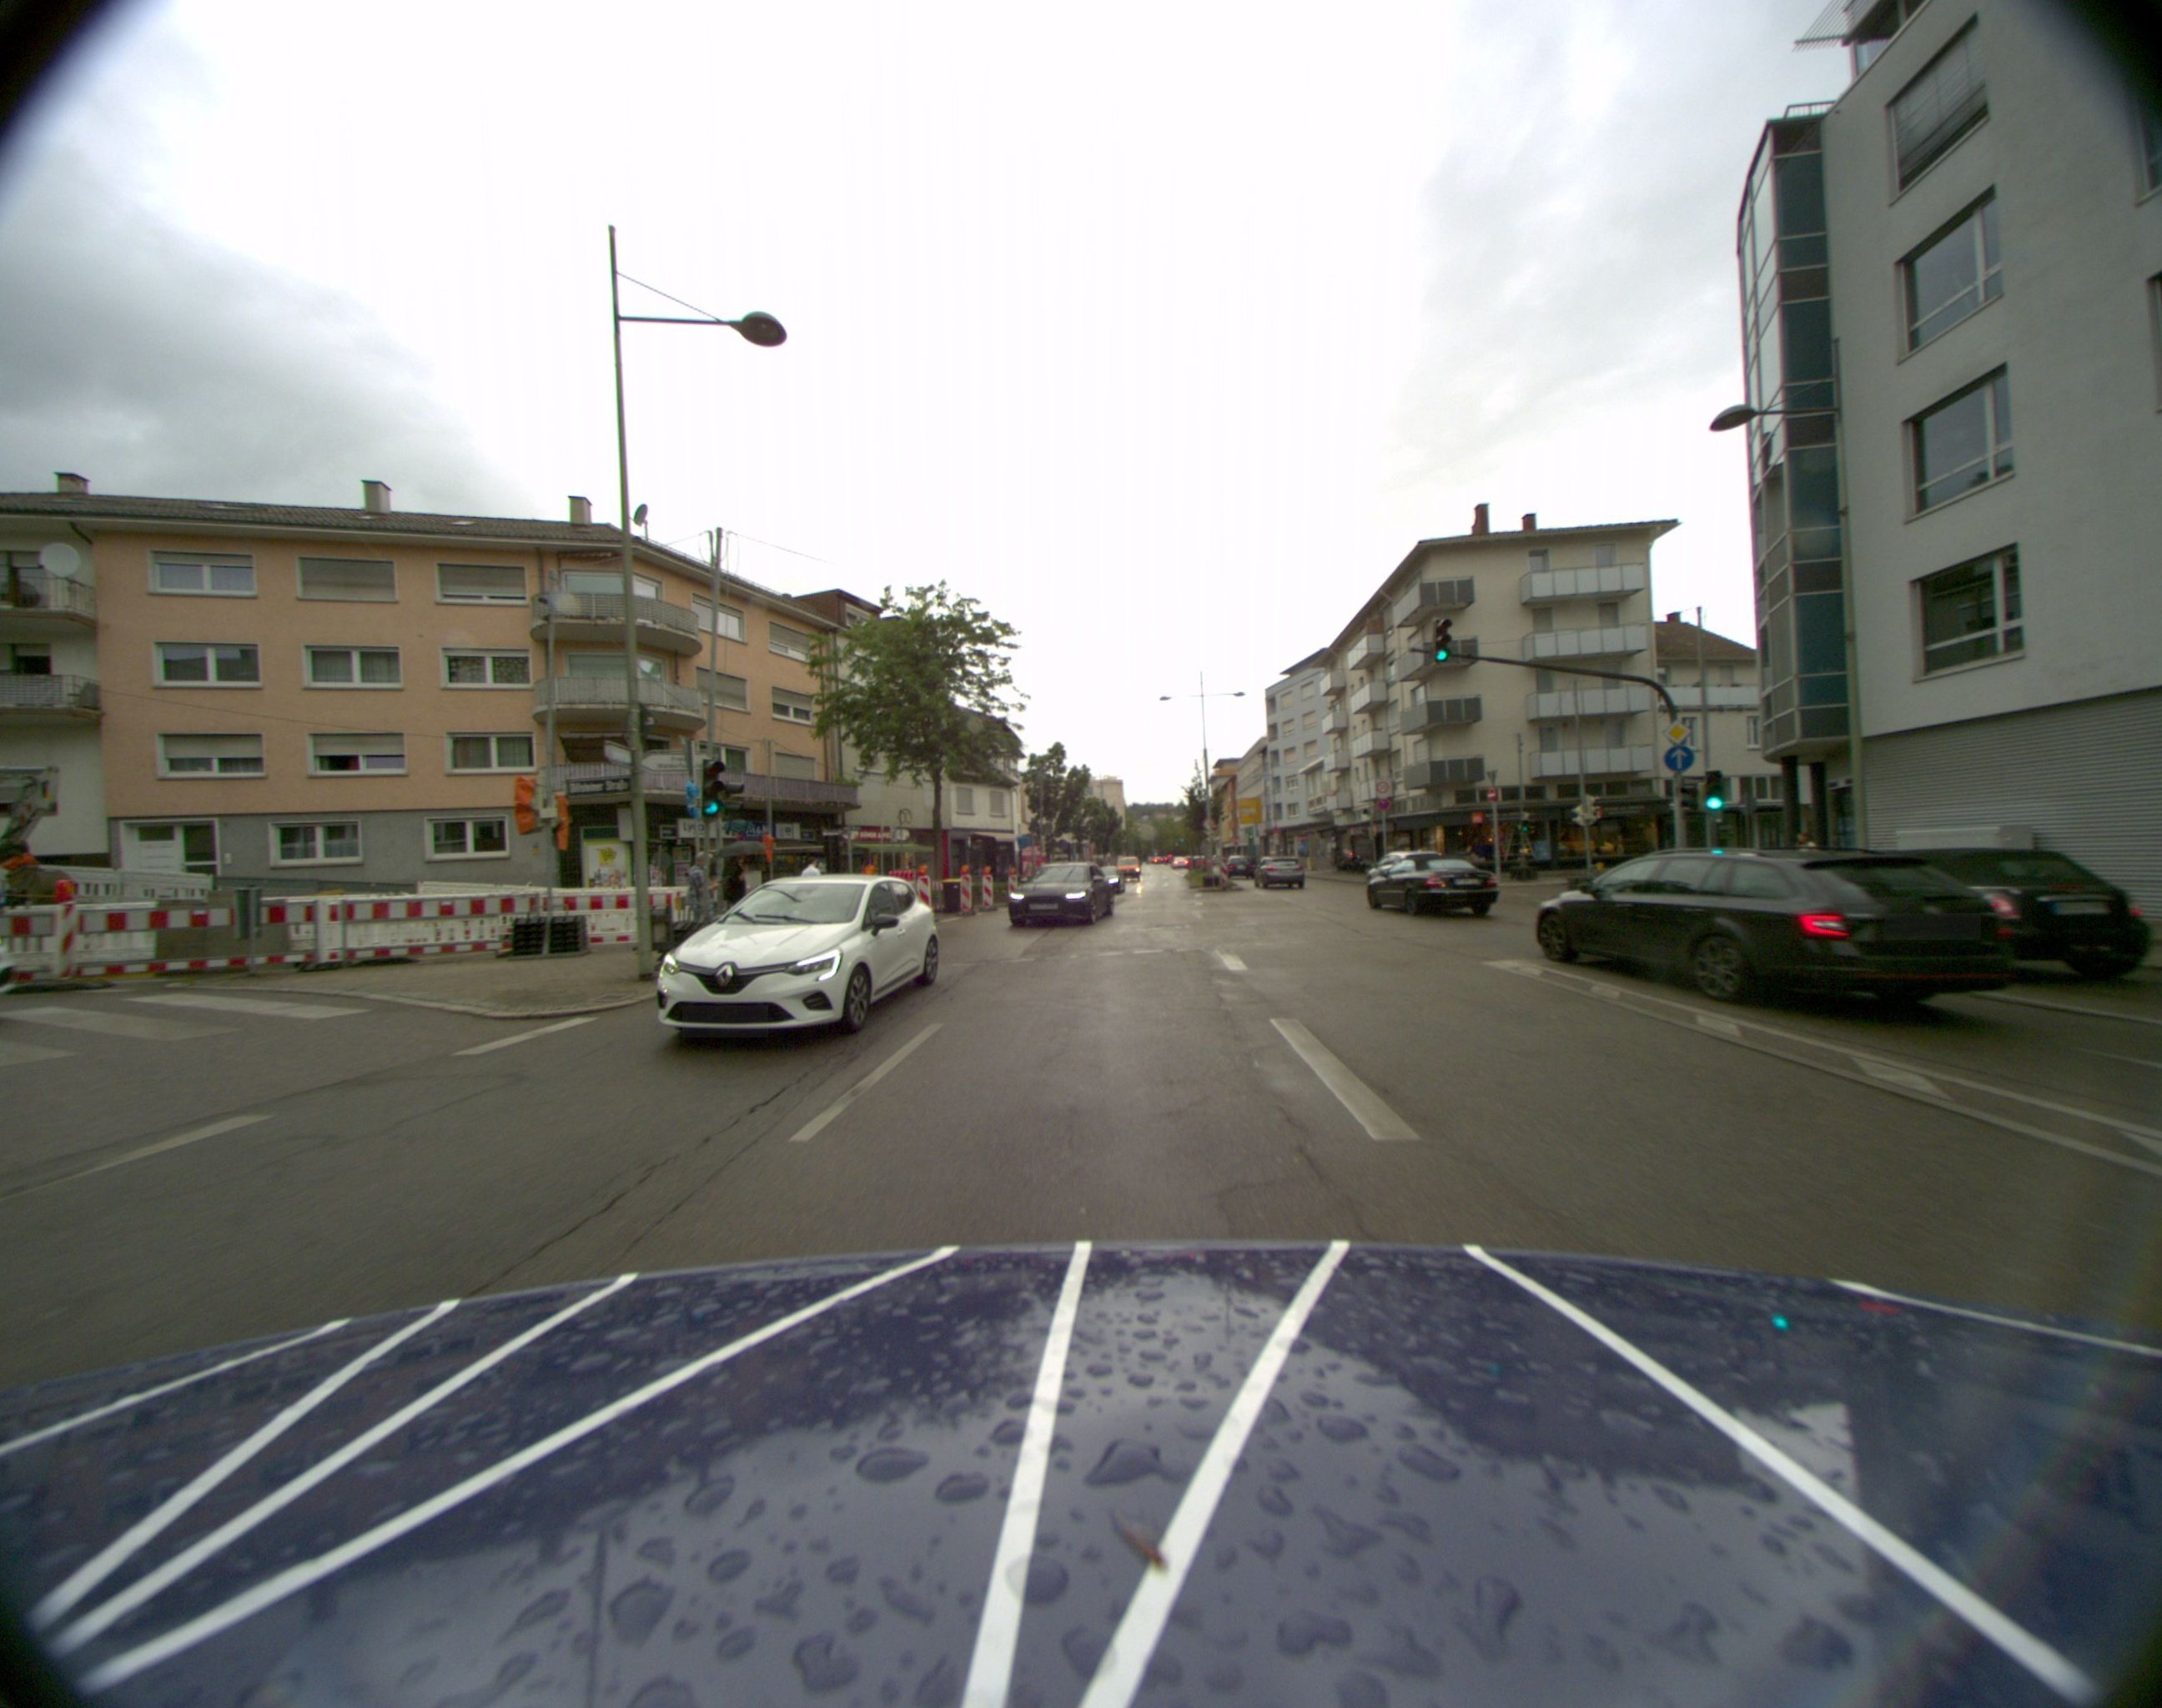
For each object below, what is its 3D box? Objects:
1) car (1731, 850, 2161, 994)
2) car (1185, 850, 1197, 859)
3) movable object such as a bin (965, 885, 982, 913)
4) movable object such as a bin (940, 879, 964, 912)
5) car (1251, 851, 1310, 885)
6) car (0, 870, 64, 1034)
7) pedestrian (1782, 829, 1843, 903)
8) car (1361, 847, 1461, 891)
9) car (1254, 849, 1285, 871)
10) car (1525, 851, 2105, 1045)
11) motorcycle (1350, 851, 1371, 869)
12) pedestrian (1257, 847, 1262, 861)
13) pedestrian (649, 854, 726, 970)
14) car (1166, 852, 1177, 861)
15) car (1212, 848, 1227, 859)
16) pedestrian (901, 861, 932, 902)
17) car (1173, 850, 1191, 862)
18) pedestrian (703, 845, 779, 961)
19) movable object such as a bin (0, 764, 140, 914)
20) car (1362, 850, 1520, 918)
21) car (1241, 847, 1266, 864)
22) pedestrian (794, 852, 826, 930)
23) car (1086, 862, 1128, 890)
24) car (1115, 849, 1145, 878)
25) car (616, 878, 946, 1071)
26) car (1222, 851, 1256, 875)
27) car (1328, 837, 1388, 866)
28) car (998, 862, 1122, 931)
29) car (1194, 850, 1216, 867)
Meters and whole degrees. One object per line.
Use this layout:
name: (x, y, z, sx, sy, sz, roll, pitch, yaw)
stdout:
car: (10.308, 0.673, 9.315, 1.726, 1.391, 3.595, -2, 0, 3)
car: (18.363, 0.038, 127.025, 1.702, 1.432, 3.841, -1, 0, 5)
movable object such as a bin: (-3.666, 1.521, 25.912, 0.420, 0.924, 0.532, -1, -1, 5)
movable object such as a bin: (-4.057, 1.303, 23.958, 0.622, 1.025, 0.532, -1, -1, 5)
car: (9.305, 0.612, 35.757, 1.857, 1.465, 4.649, -2, 0, 5)
car: (-13.717, 1.078, 7.214, 4.798, 1.711, 1.998, -1, 1, -8)
pedestrian: (16.368, 0.264, 17.013, 0.625, 1.598, 0.833, -2, 0, 15)
car: (11.897, 0.480, 27.772, 1.933, 1.465, 4.604, 0, 0, 4)
car: (14.410, 0.424, 58.238, 1.776, 1.515, 4.286, -2, 0, 8)
car: (6.960, 0.725, 8.107, 1.988, 1.451, 4.486, -1, 1, 3)
motorcycle: (18.176, 0.373, 49.490, 0.670, 1.081, 2.196, -5, 1, 5)
pedestrian: (21.140, 0.032, 90.180, 0.512, 1.679, 0.531, -1, 2, 6)
pedestrian: (-6.107, 0.855, 11.783, 0.823, 1.679, 0.792, -4, 3, -41)
car: (16.173, 0.443, 135.564, 1.776, 1.634, 3.841, -1, 0, 5)
car: (19.991, -0.072, 109.731, 1.776, 1.579, 4.028, -1, 0, 7)
pedestrian: (-7.323, 1.216, 33.881, 0.968, 1.782, 0.908, 1, 3, 37)
car: (12.748, 0.285, 96.157, 1.849, 1.409, 4.616, 0, 0, 2)
pedestrian: (-5.808, 0.784, 12.962, 0.921, 1.851, 1.028, -3, 3, -35)
movable object such as a bin: (-29.142, -0.452, 18.997, 6.541, 3.615, 2.739, 3, -1, -15)
car: (8.521, 0.628, 18.486, 1.829, 1.358, 4.604, -1, 1, 3)
car: (17.069, 0.150, 75.245, 1.851, 1.488, 4.002, -4, 0, 6)
pedestrian: (-6.752, 0.897, 18.954, 0.658, 1.868, 0.992, -2, 1, -19)
car: (1.407, 1.118, 39.515, 1.811, 1.331, 4.281, -1, -1, 6)
car: (4.070, 0.768, 62.627, 2.197, 2.074, 5.934, -4, 1, 5)
car: (-2.780, 1.038, 8.116, 1.680, 1.395, 4.001, -1, 0, 4)
car: (10.989, 0.589, 52.952, 1.833, 1.534, 4.285, -2, 0, 6)
car: (21.560, -0.208, 59.215, 3.995, 2.042, 1.895, -3, 0, 7)
car: (-0.334, 0.974, 19.455, 2.038, 1.379, 5.297, -1, 1, 11)
car: (12.188, 0.415, 74.728, 1.850, 1.584, 4.092, -2, 0, 6)
